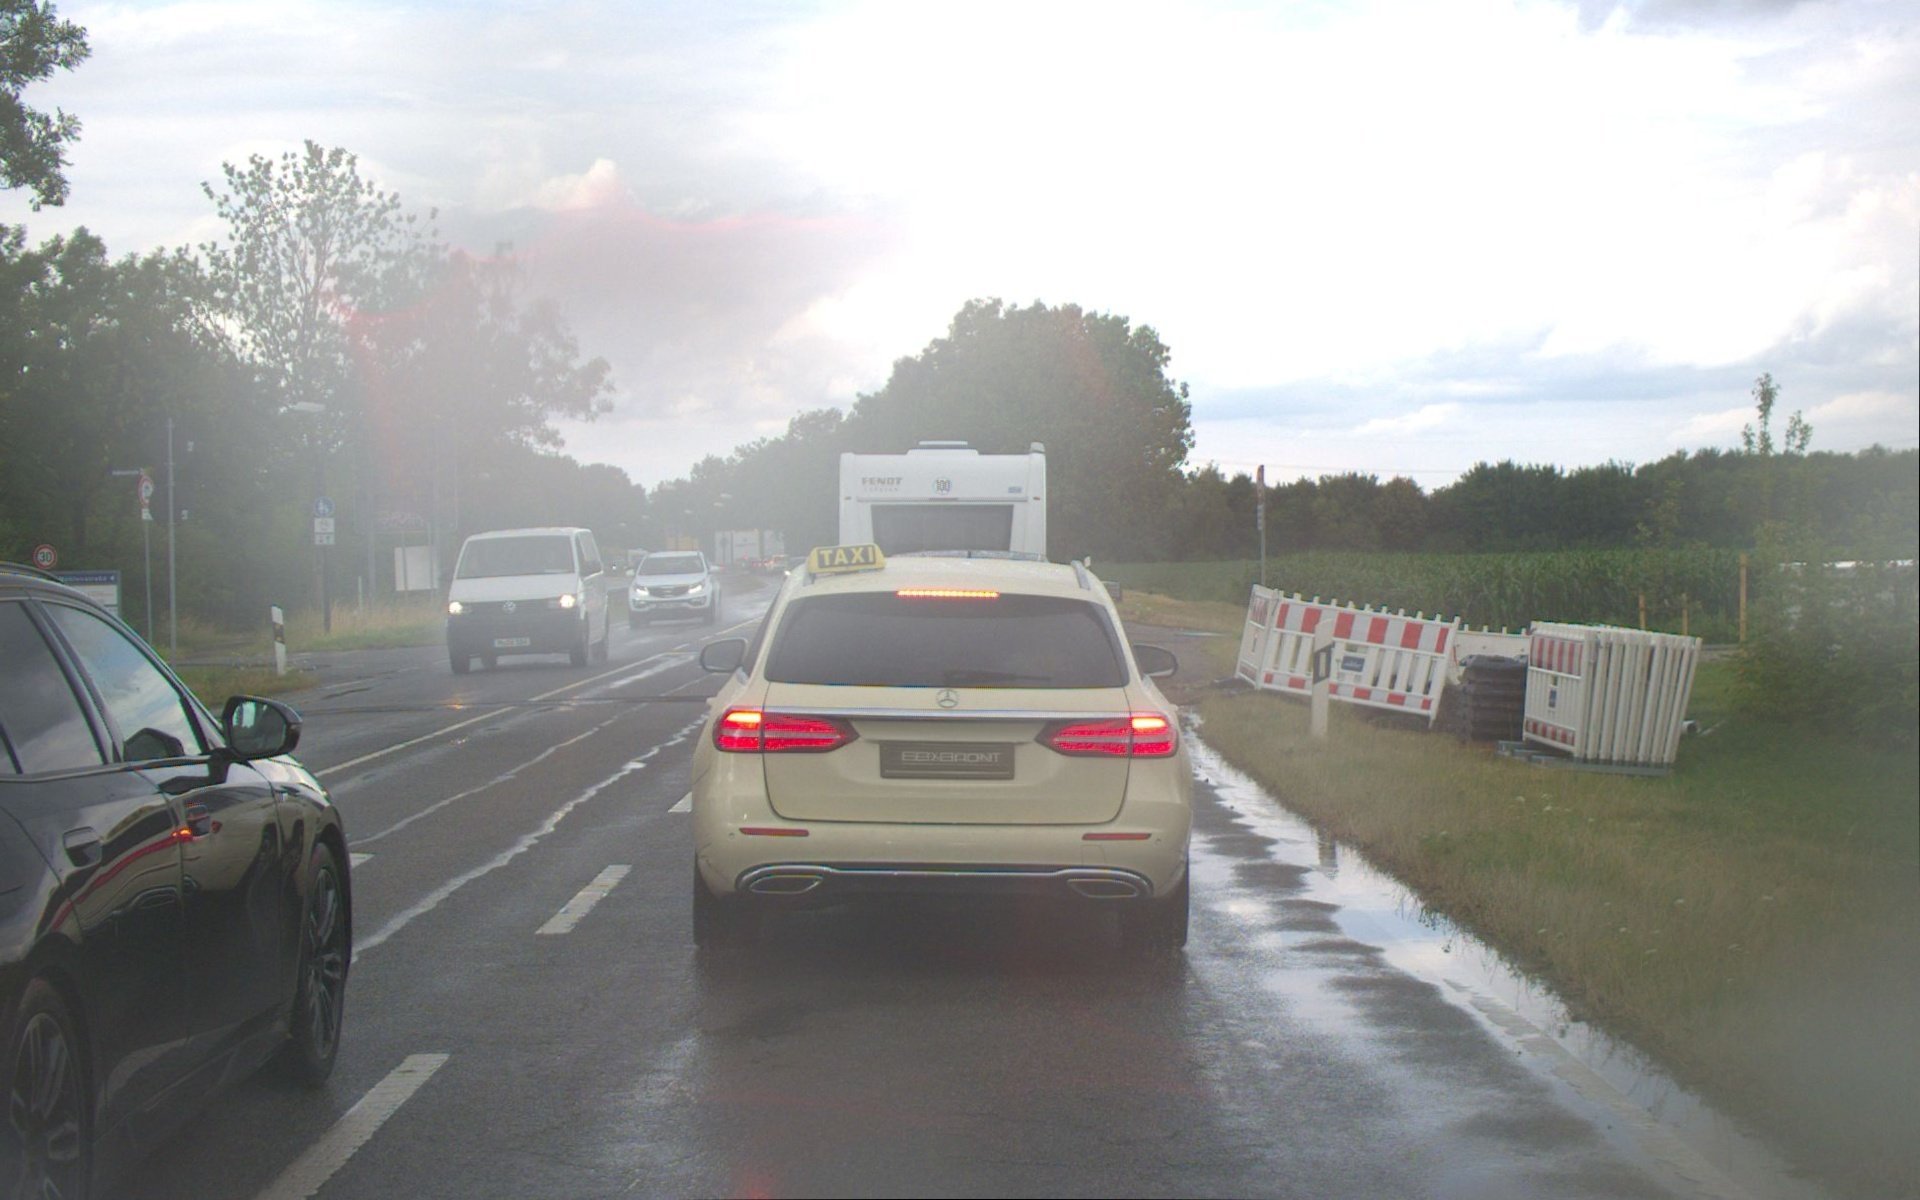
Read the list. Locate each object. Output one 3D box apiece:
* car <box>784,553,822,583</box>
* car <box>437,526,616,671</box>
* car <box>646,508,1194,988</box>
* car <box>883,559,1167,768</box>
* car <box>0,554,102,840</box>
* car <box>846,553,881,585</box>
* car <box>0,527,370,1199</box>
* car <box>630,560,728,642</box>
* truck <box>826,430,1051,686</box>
[{"bbox_3d":[-7.895,-1.609,173.008,1.719,1.399,4.044,-3,1,-1],"label":"car"},{"bbox_3d":[-6.057,-0.040,48.550,1.916,1.855,4.685,-3,1,-1],"label":"car"},{"bbox_3d":[-0.159,0.476,13.585,1.842,1.612,4.000,0,1,-1],"label":"car"},{"bbox_3d":[0.438,0.431,26.383,1.993,1.457,4.000,1,1,-1],"label":"car"},{"bbox_3d":[-5.924,0.553,18.888,1.500,1.524,3.301,-3,1,0],"label":"car"},{"bbox_3d":[-5.815,-1.870,206.829,1.895,1.888,3.844,-1,1,-4],"label":"car"},{"bbox_3d":[-2.838,0.611,7.615,2.302,1.542,4.633,1,1,-1],"label":"car"},{"bbox_3d":[-6.179,-0.003,75.912,1.704,1.665,4.156,-3,1,0],"label":"car"},{"bbox_3d":[-0.274,-0.510,40.834,2.363,2.719,7.314,-1,1,-1],"label":"truck"}]
